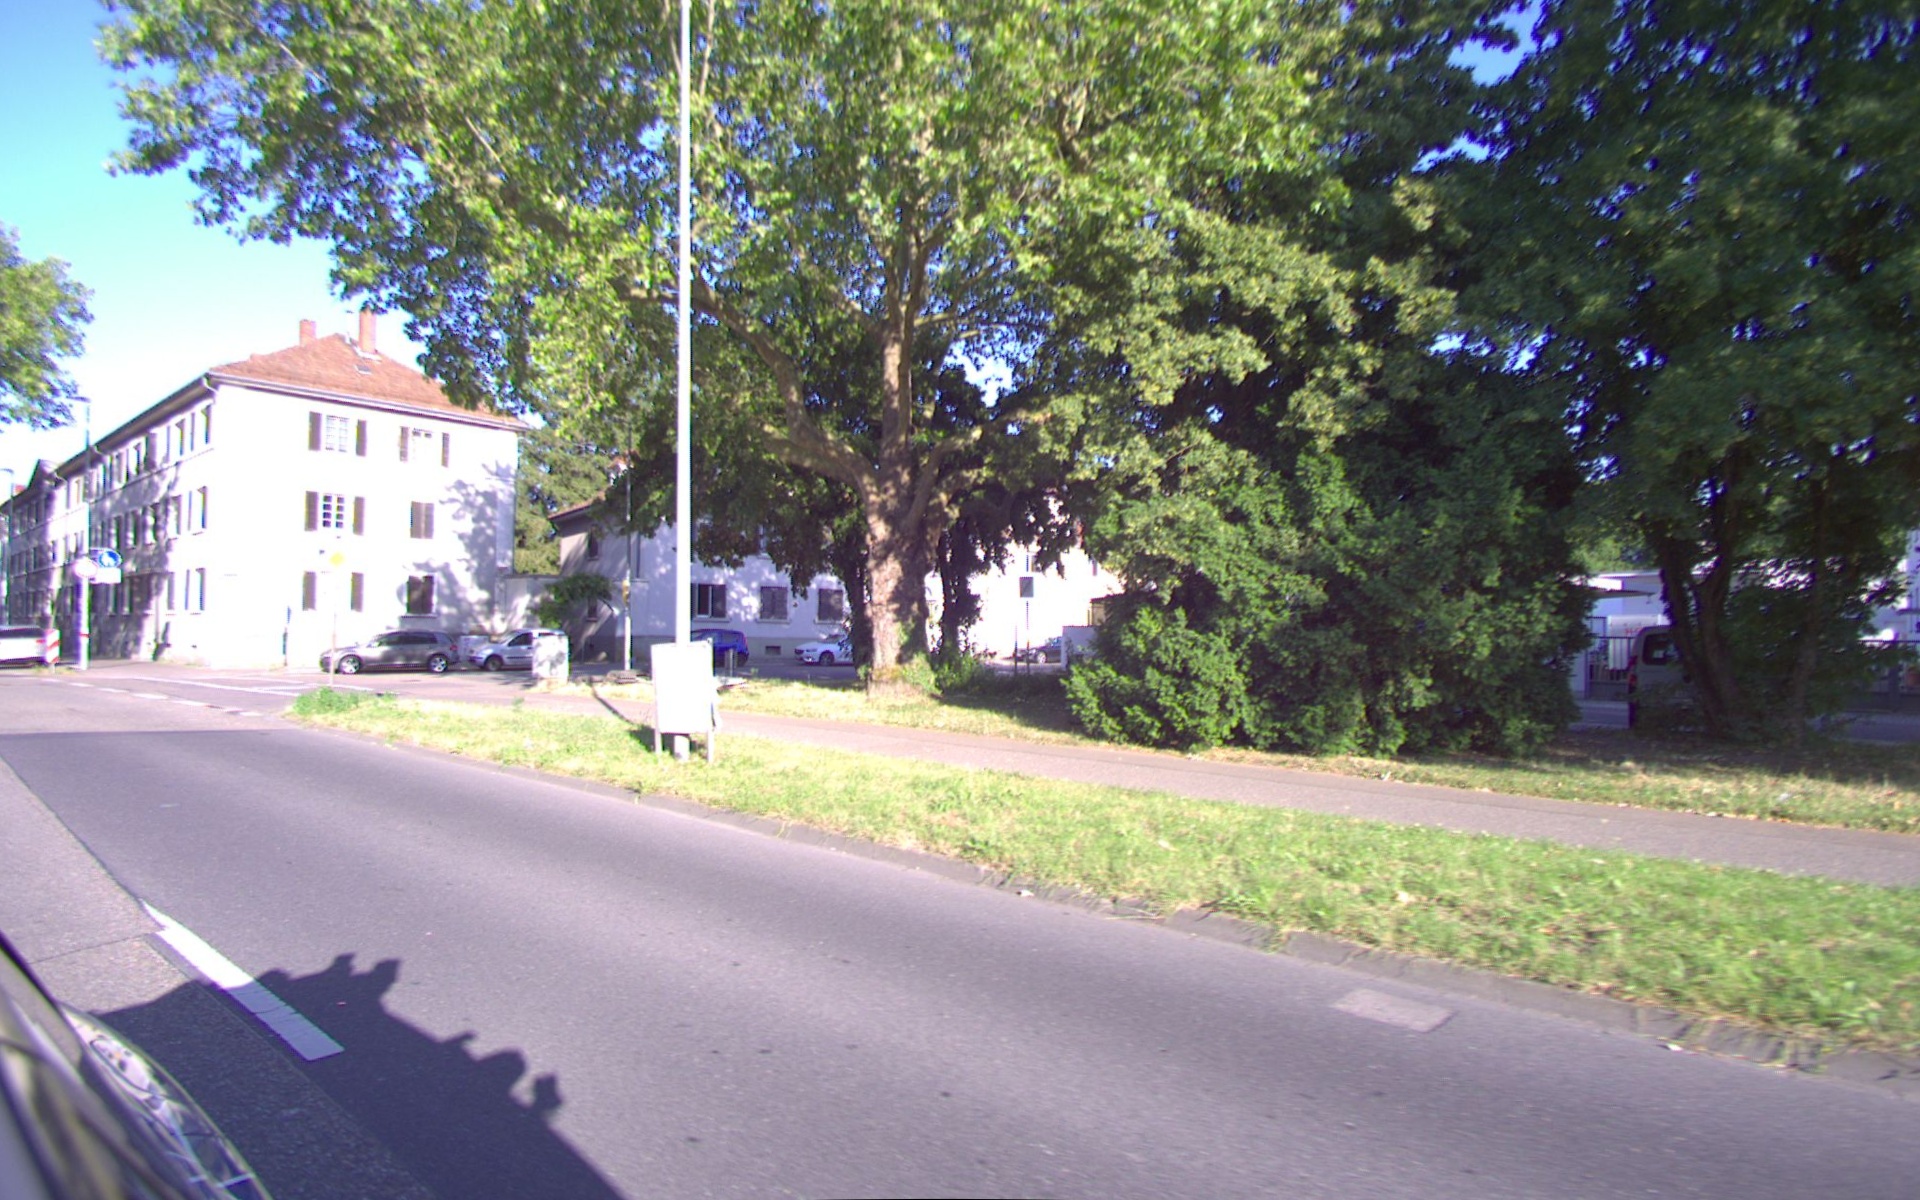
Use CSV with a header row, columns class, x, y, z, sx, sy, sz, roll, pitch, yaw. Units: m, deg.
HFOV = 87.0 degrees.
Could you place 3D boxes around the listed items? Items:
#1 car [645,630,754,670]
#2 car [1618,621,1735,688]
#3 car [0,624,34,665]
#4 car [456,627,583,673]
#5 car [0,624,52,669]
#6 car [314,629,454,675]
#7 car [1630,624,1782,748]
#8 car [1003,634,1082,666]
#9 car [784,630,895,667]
class,x,y,z,sx,sy,sz,roll,pitch,yaw
car,-10.680,2.017,41.618,3.934,1.573,1.869,1,-2,-37
car,25.433,1.911,35.907,3.932,2.266,2.006,2,-2,-32
car,-37.428,1.707,39.280,4.050,1.518,1.689,-1,-1,40
car,-16.156,1.818,37.193,3.934,1.573,1.869,2,-2,-37
car,-32.952,1.588,35.165,4.108,1.495,1.742,-2,-1,43
car,-19.678,1.763,34.638,3.934,1.429,1.918,2,-2,-37
car,11.787,1.307,16.020,1.724,1.697,3.949,-1,-4,37
car,4.364,2.605,53.298,3.934,1.573,1.869,2,-2,-37
car,-5.383,2.161,45.467,4.603,1.573,1.869,1,-3,-37
